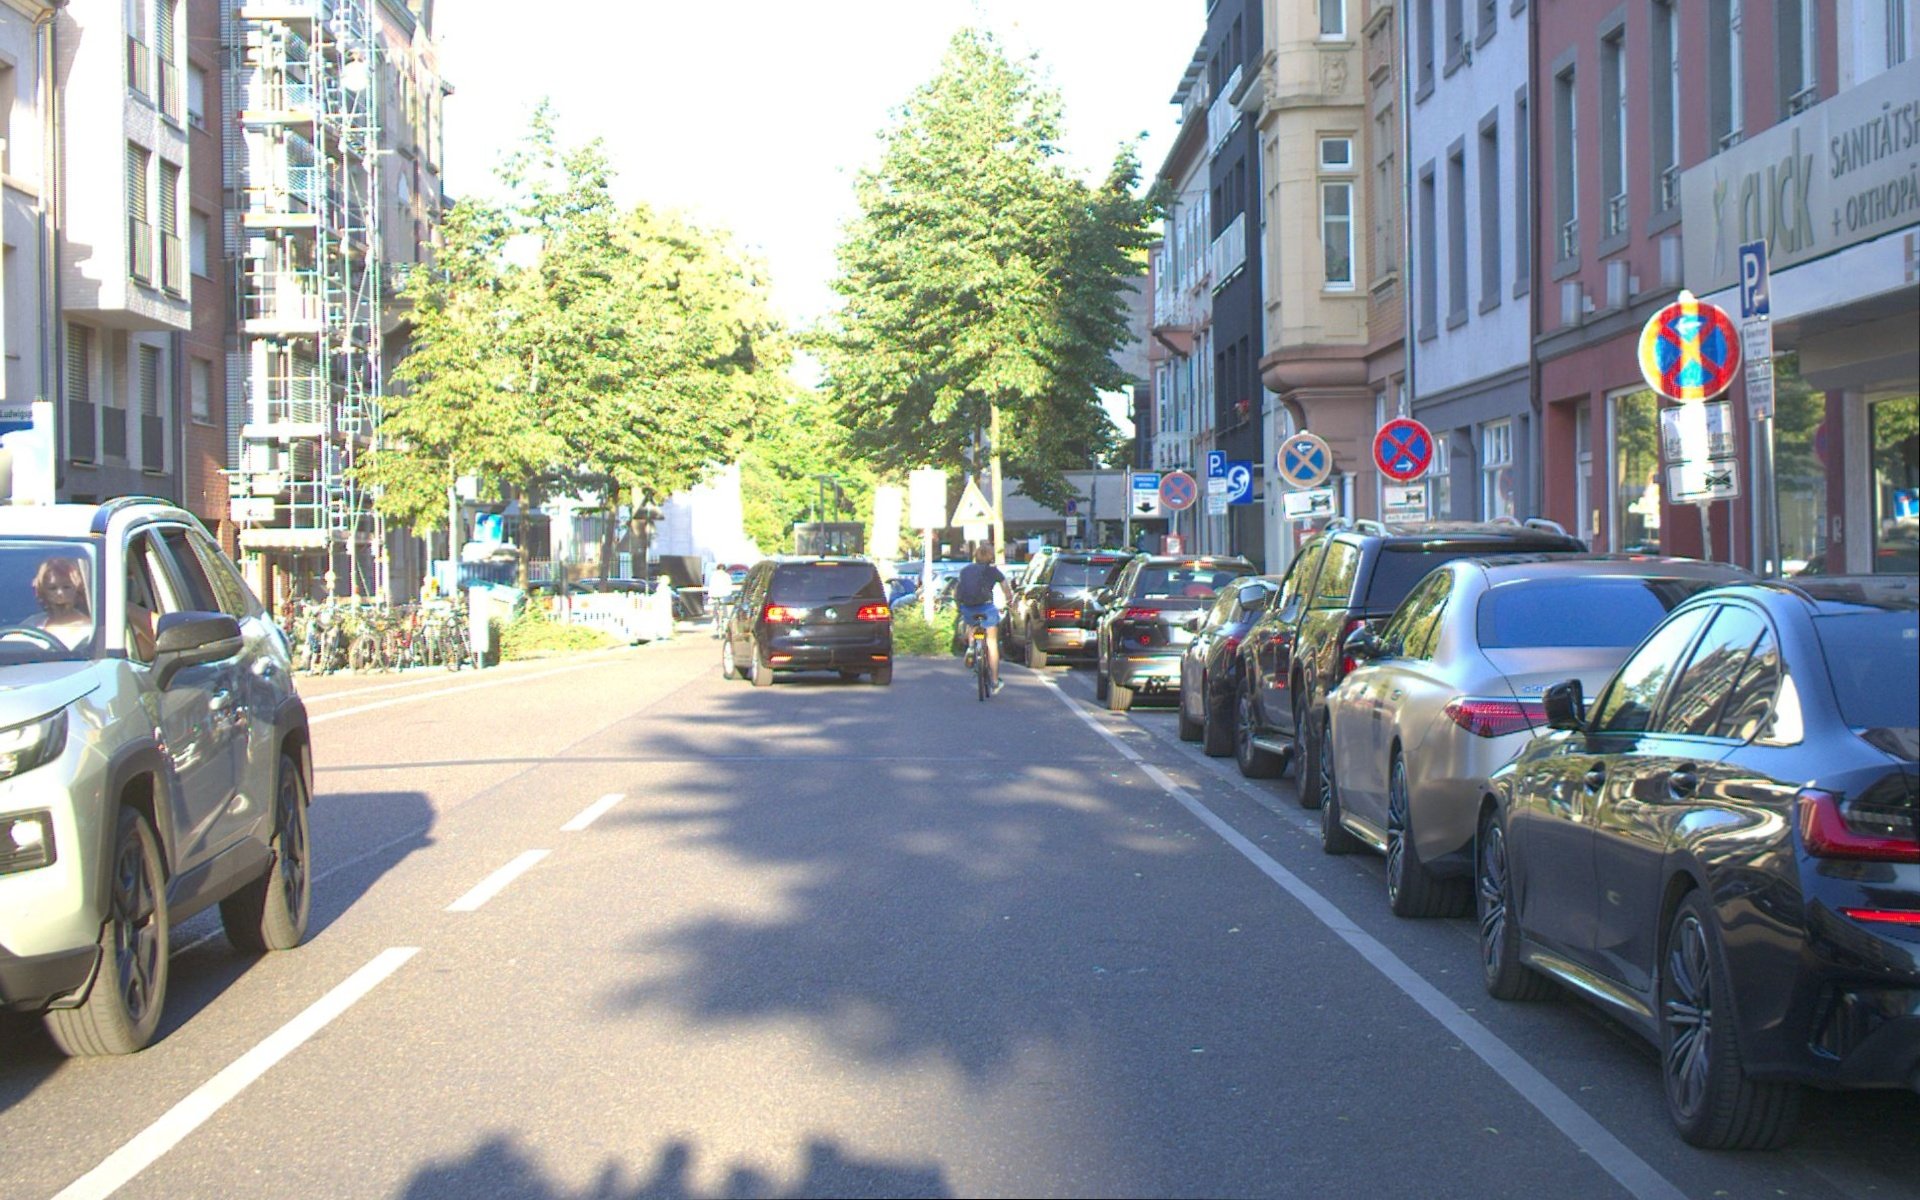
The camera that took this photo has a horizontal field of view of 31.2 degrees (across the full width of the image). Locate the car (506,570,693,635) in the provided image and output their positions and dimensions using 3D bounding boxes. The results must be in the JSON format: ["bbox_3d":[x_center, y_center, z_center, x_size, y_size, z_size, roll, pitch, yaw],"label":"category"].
[{"bbox_3d":[-8.335,0.055,79.642,4.103,1.461,1.889,0,0,1],"label":"car"}]

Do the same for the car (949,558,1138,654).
[{"bbox_3d":[1.352,0.101,56.342,2.968,1.531,1.433,0,0,-4],"label":"car"}]

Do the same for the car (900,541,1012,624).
[{"bbox_3d":[-0.134,-0.416,83.323,2.265,1.760,4.510,5,0,-4],"label":"car"}]

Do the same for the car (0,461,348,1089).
[{"bbox_3d":[-3.358,0.482,11.357,1.940,1.639,4.739,-2,0,-2],"label":"car"}]

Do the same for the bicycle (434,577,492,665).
[{"bbox_3d":[-7.982,0.319,55.134,0.844,1.346,3.188,-1,0,-9],"label":"bicycle"}]

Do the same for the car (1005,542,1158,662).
[{"bbox_3d":[1.747,0.026,50.711,1.824,1.689,4.369,0,0,-4],"label":"car"}]

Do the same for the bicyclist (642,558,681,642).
[{"bbox_3d":[-6.610,0.003,76.083,0.780,1.823,1.007,-2,0,-3],"label":"bicyclist"}]

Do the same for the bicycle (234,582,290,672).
[{"bbox_3d":[-11.077,0.410,54.616,0.721,1.391,3.154,0,0,-9],"label":"bicycle"}]

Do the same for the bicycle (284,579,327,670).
[{"bbox_3d":[-10.409,0.375,54.727,0.584,1.391,3.162,0,0,-9],"label":"bicycle"}]

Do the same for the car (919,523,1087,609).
[{"bbox_3d":[1.072,-0.832,83.871,3.987,2.007,2.000,-1,1,4],"label":"car"}]

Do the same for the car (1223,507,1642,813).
[{"bbox_3d":[2.919,0.344,22.356,1.883,1.748,5.059,0,0,-2],"label":"car"}]

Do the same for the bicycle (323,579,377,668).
[{"bbox_3d":[-9.717,0.365,54.850,0.780,1.368,3.143,0,0,-9],"label":"bicycle"}]

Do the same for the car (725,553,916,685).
[{"bbox_3d":[-1.855,0.231,44.349,1.993,1.596,4.510,0,0,-8],"label":"car"}]

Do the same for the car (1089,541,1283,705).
[{"bbox_3d":[2.390,0.233,37.262,1.812,1.662,4.206,0,0,0],"label":"car"}]

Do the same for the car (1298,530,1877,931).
[{"bbox_3d":[2.652,0.498,15.688,1.812,1.522,4.993,0,0,1],"label":"car"}]

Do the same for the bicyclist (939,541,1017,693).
[{"bbox_3d":[0.195,0.187,39.086,0.780,1.690,1.007,-2,0,-3],"label":"bicyclist"}]

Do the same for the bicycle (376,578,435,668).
[{"bbox_3d":[-8.870,0.355,54.993,0.892,1.391,3.167,-1,0,-9],"label":"bicycle"}]

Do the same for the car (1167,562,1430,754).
[{"bbox_3d":[2.763,0.450,28.891,1.762,1.478,4.307,0,0,0],"label":"car"}]

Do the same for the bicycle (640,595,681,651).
[{"bbox_3d":[-6.614,0.503,75.971,0.780,1.200,2.021,-2,0,-3],"label":"bicycle"}]

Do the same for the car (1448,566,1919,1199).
[{"bbox_3d":[2.637,0.640,9.710,1.752,1.415,4.510,1,1,-1],"label":"car"}]

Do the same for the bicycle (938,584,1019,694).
[{"bbox_3d":[0.198,0.429,39.037,0.780,1.200,2.021,-2,0,-3],"label":"bicycle"}]
